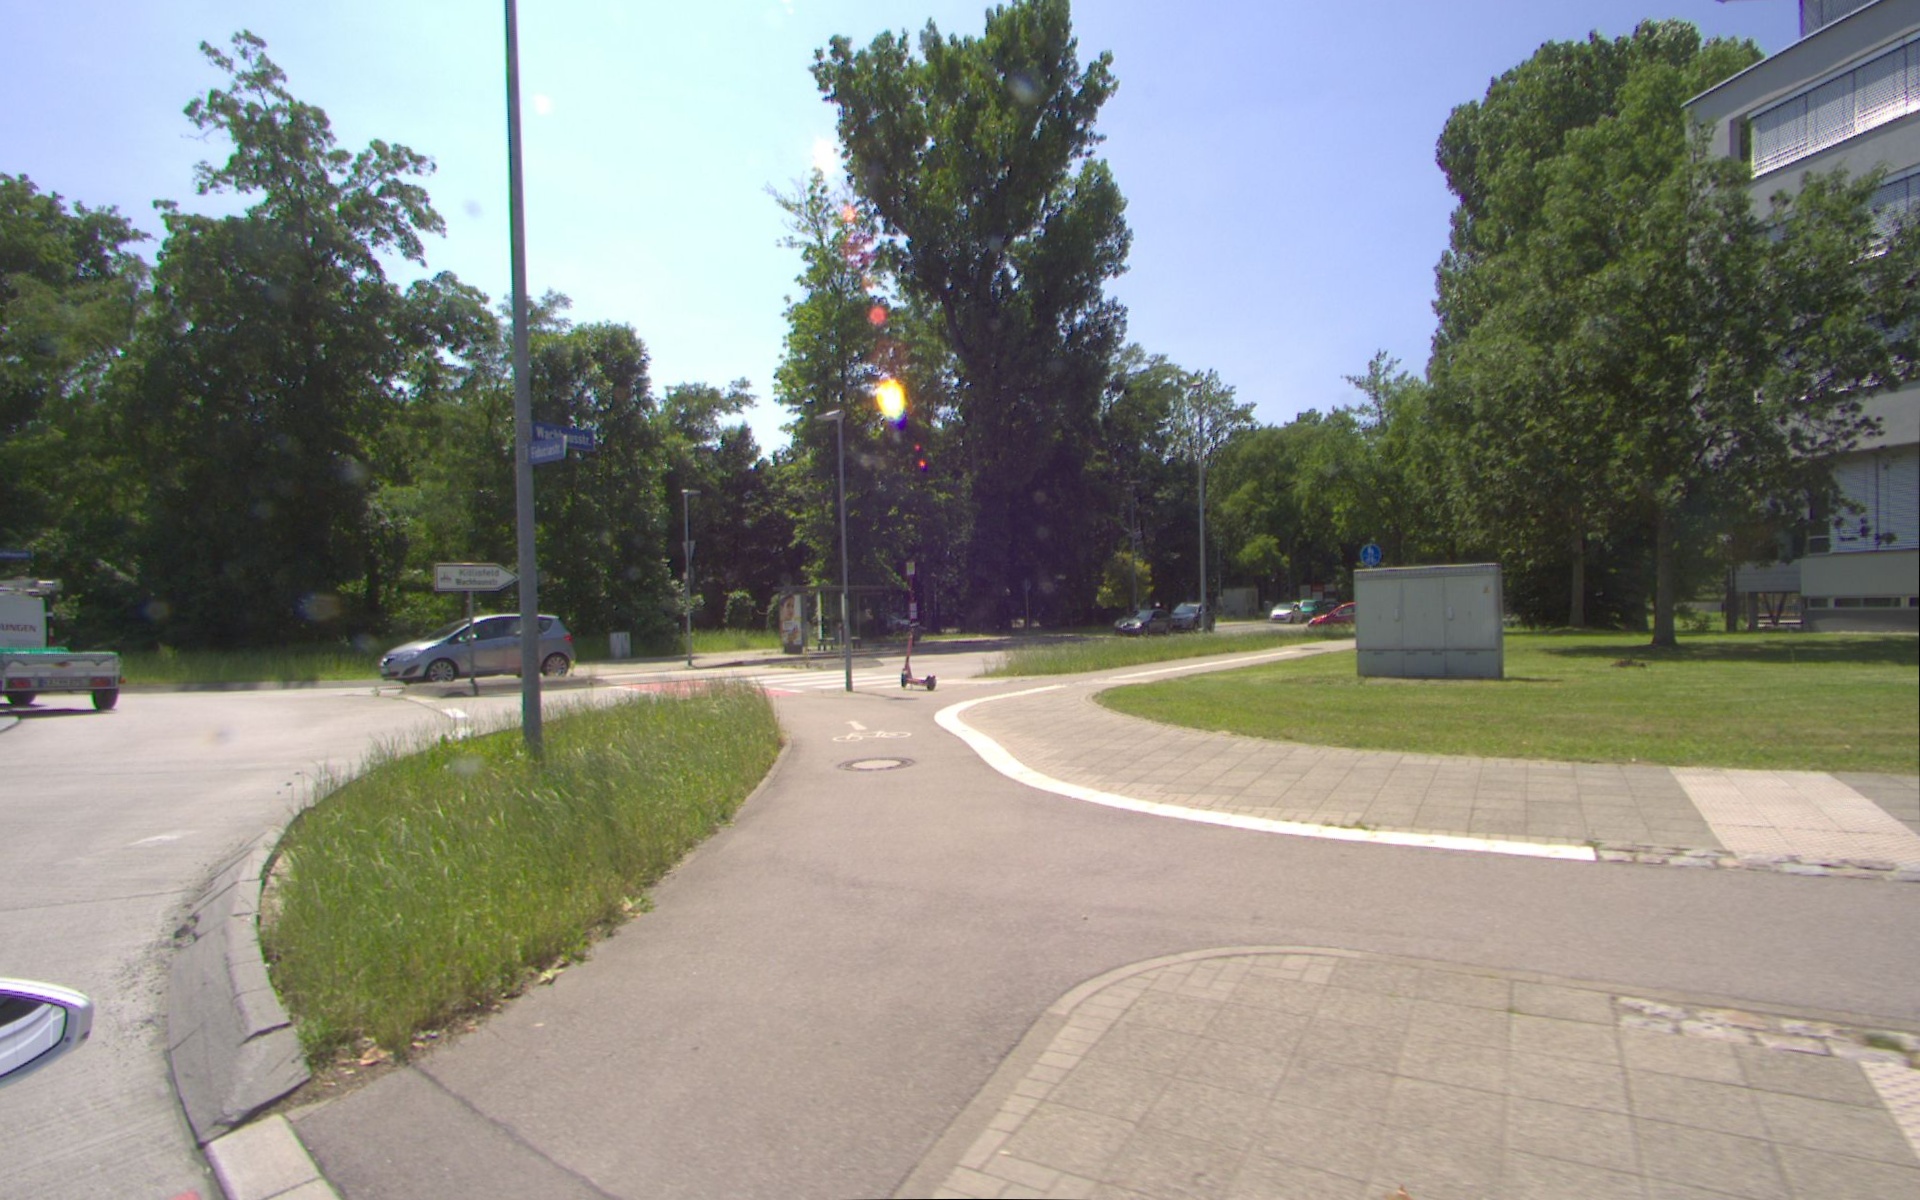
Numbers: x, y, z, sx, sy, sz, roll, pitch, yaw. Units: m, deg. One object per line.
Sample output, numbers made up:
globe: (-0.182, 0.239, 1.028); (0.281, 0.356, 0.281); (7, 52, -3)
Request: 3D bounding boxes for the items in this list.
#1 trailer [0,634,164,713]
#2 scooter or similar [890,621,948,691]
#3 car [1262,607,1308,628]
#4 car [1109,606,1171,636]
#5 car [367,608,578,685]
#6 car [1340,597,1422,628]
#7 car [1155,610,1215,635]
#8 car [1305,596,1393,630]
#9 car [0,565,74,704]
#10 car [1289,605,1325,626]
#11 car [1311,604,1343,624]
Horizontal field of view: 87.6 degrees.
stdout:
trailer: (-14.882, 1.142, 16.088); (3.302, 1.111, 2.121); (-2, -1, 27)
scooter or similar: (-0.760, 1.003, 18.244); (0.441, 1.217, 1.391); (-1, -1, -31)
car: (23.854, 1.296, 73.384); (1.975, 1.488, 3.972); (-2, -2, 37)
car: (9.539, 1.102, 52.863); (1.680, 1.506, 3.975); (2, 0, 36)
car: (-11.293, 1.035, 23.409); (1.769, 1.627, 4.096); (-2, -2, 39)
car: (21.539, 0.662, 51.284); (3.633, 1.502, 1.859); (-2, -1, 32)
car: (13.076, 1.298, 58.077); (1.974, 1.327, 3.975); (-2, -2, 35)
car: (18.467, 0.621, 47.554); (3.633, 1.502, 1.859); (-2, -1, 32)
car: (-18.552, 0.655, 17.967); (4.900, 2.346, 2.167); (-2, -1, 24)
car: (26.638, 1.202, 76.740); (1.713, 1.563, 3.424); (-2, -2, 35)
car: (29.958, 1.141, 81.640); (1.712, 1.513, 3.426); (-2, 0, 33)
